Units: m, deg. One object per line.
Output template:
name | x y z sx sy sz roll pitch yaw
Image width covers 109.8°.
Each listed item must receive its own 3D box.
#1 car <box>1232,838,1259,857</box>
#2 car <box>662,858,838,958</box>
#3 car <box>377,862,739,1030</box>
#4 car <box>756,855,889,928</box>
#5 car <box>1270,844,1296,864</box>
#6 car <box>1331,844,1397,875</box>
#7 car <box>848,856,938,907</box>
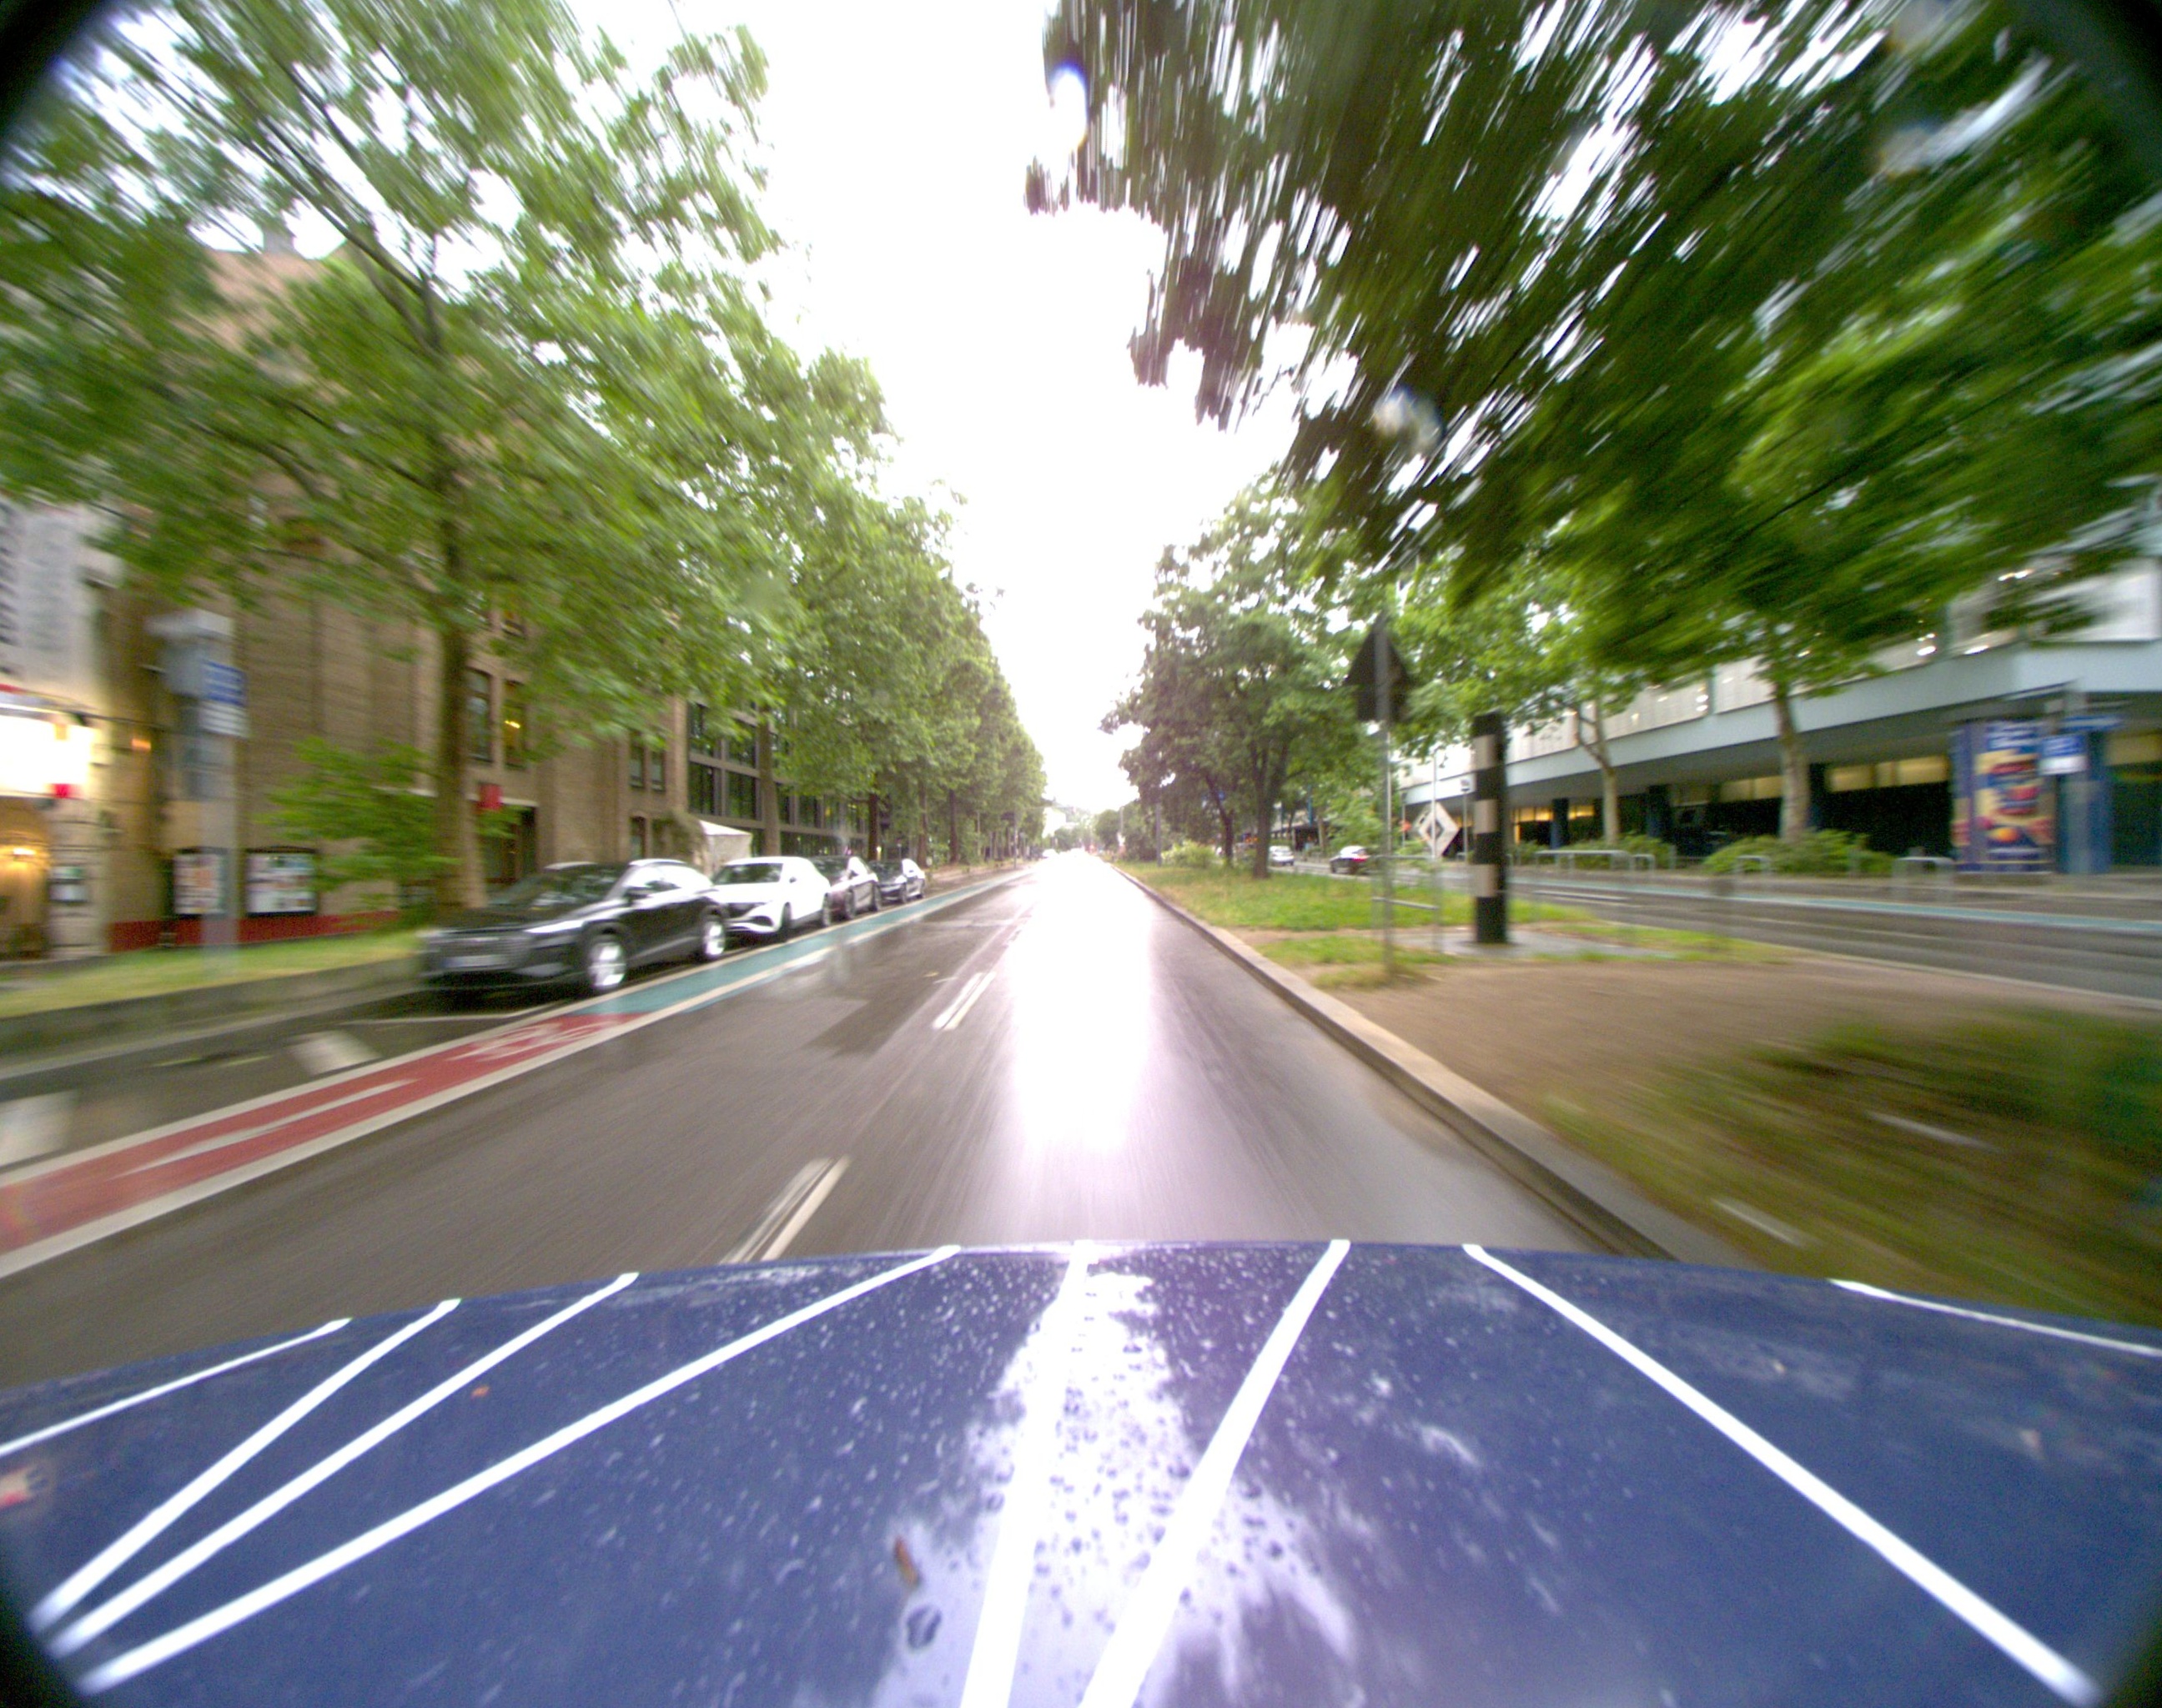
car | 15.923 -0.646 73.617 1.998 1.791 4.282 -1 1 5
car | -6.366 0.934 15.231 1.756 1.576 4.408 -2 1 -4
car | -6.559 1.007 10.309 1.797 1.594 4.423 -3 1 -1
car | -6.637 0.877 20.128 1.999 1.580 4.559 -2 1 -1
car | 15.146 -0.041 57.026 1.163 1.454 3.561 -1 1 3
car | 14.545 0.239 39.346 1.998 1.483 4.757 -1 0 4
car | -6.239 0.854 25.742 1.747 1.425 4.585 -2 1 1
